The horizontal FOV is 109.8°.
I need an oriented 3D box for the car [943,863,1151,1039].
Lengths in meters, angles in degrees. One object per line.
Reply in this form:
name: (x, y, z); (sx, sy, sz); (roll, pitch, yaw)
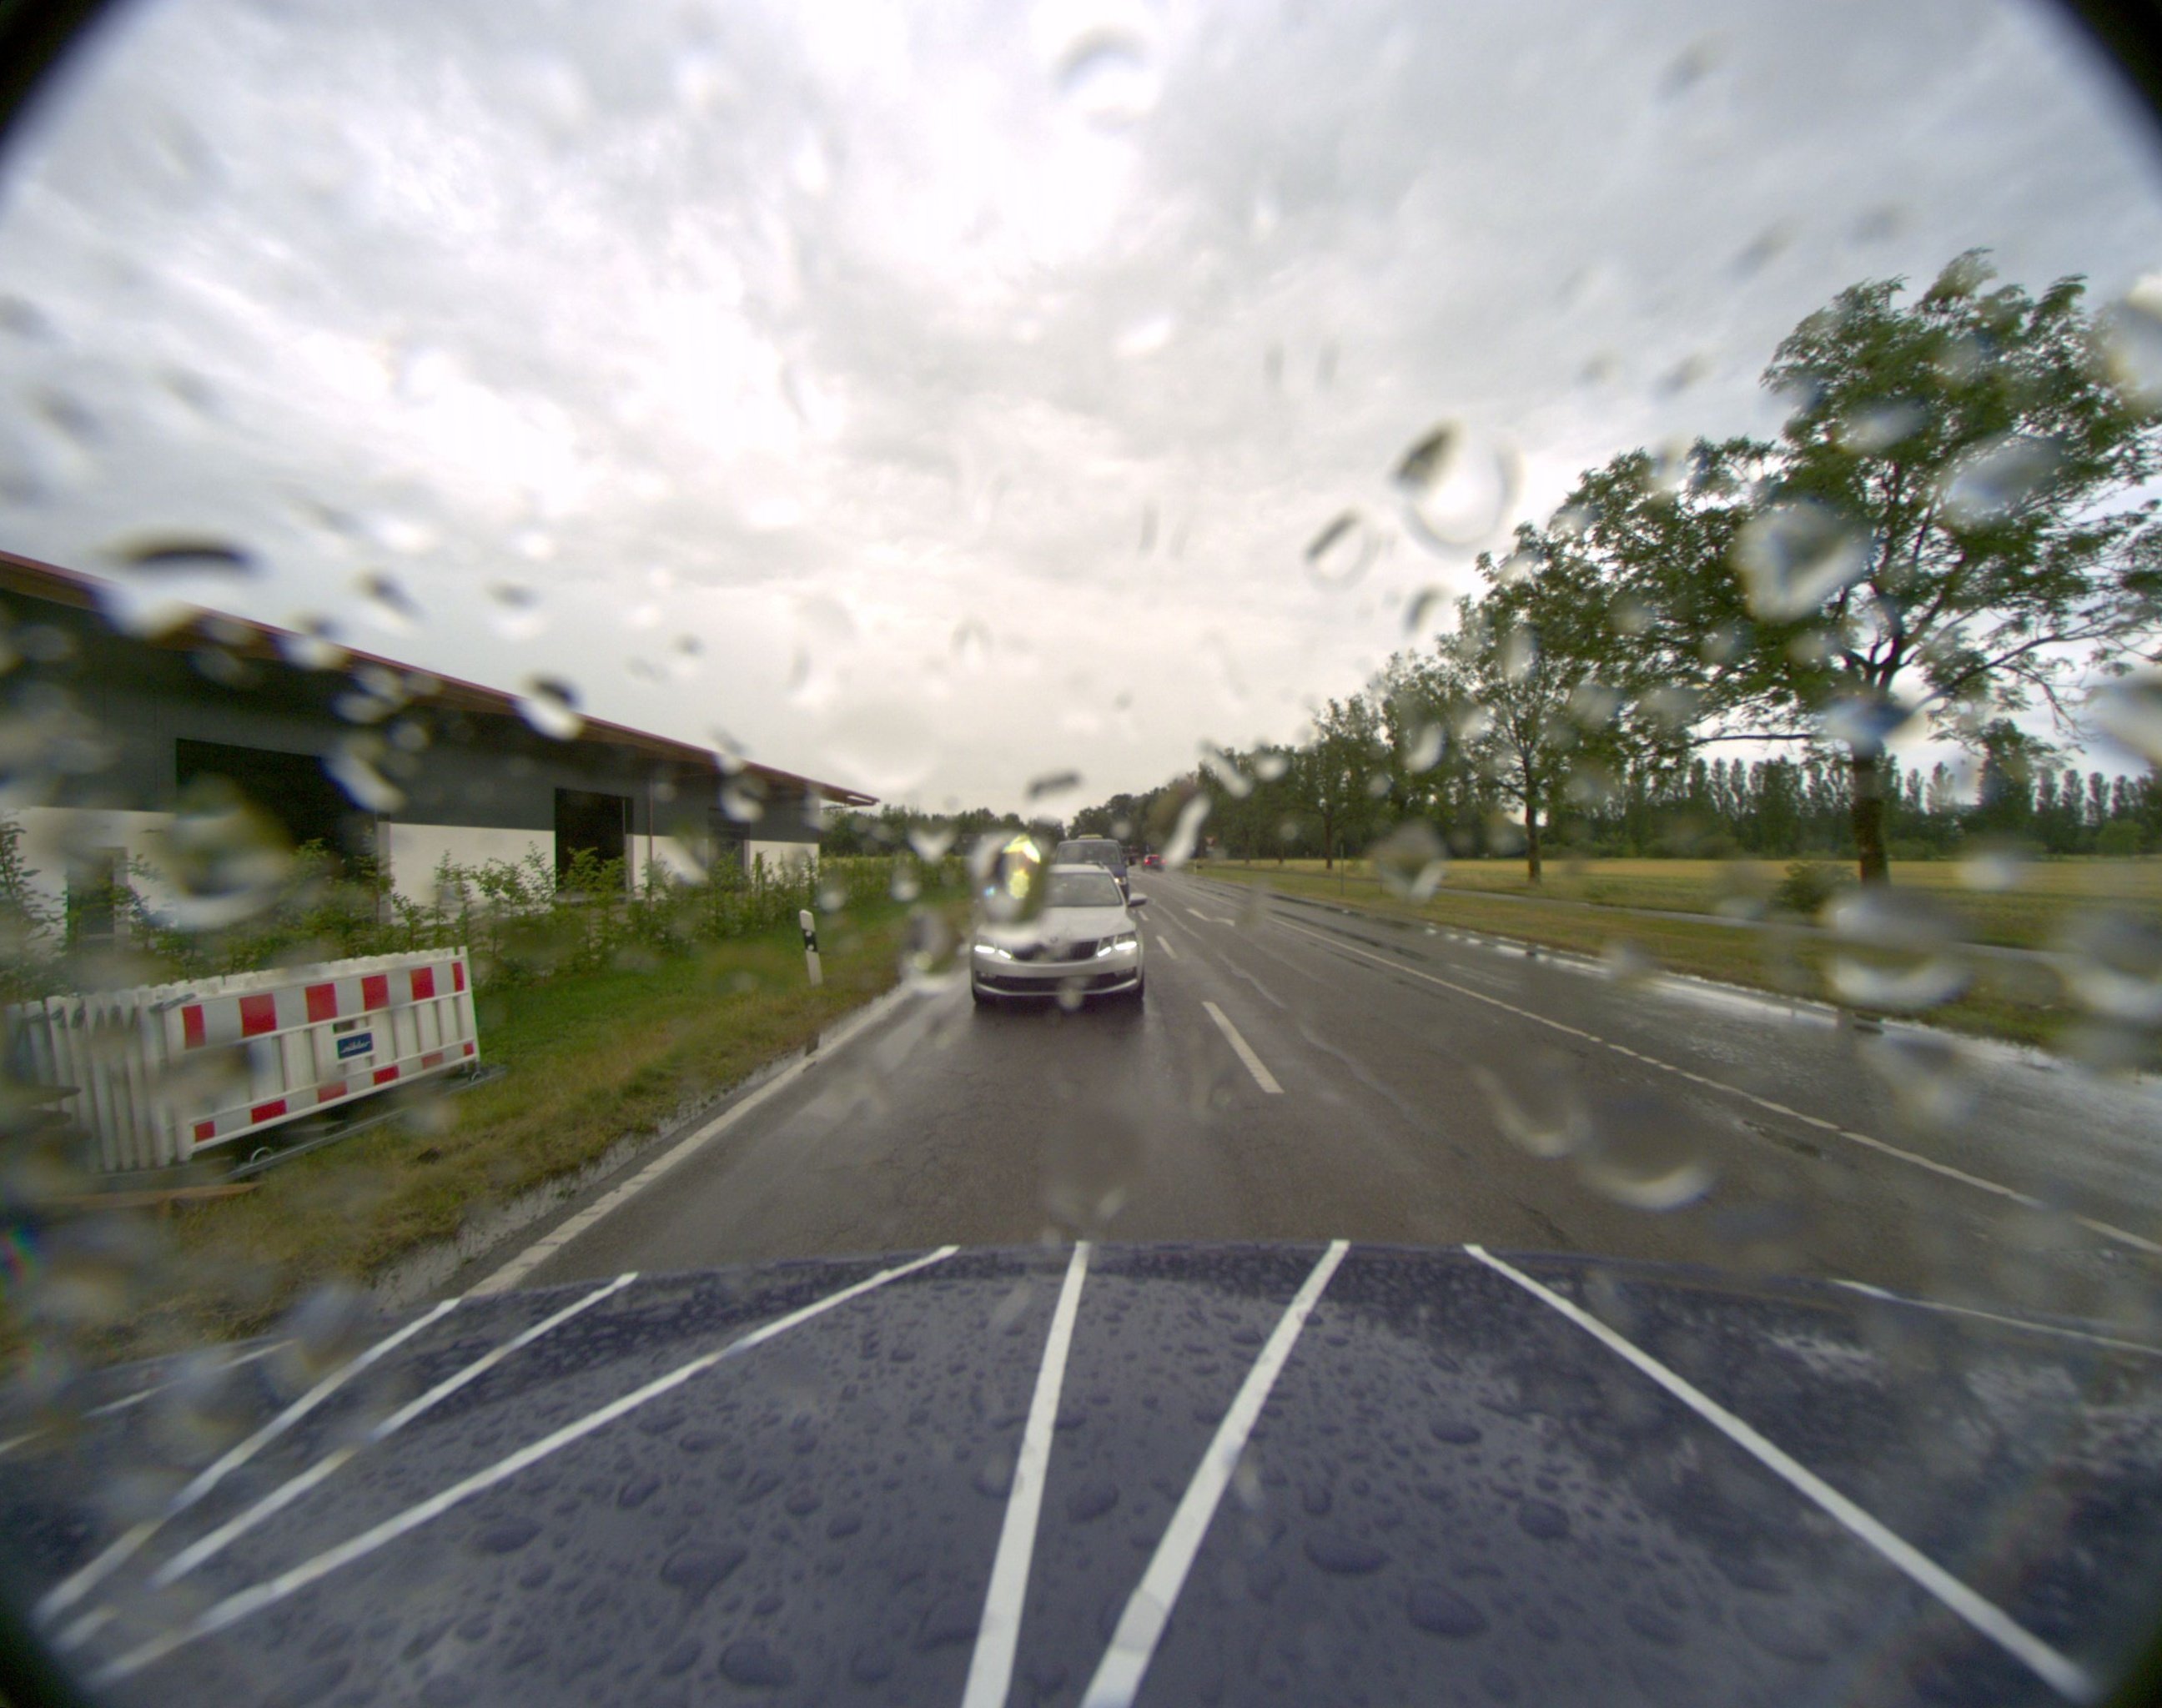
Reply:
car: (-0.276, 0.915, 9.193); (1.843, 1.379, 4.568); (-2, 1, 1)

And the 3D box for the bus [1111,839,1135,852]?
bus: (9.902, -2.015, 176.574); (2.954, 2.895, 12.488); (1, 1, 15)

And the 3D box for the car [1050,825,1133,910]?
car: (0.272, 0.274, 19.524); (1.892, 1.939, 3.999); (0, 1, 1)

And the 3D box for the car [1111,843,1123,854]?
car: (6.409, -0.994, 134.276); (1.921, 1.851, 4.684); (1, 1, 0)

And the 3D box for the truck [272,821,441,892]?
truck: (-32.681, 0.061, 34.586); (2.496, 2.996, 5.343); (0, 1, 1)

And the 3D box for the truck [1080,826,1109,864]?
truck: (1.476, -1.050, 84.244); (2.931, 3.829, 14.118); (0, 1, 1)

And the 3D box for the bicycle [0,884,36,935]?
bicycle: (-23.212, 1.198, 15.880); (0.391, 1.066, 1.660); (0, 1, 1)

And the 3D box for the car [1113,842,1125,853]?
car: (6.090, -1.079, 121.547); (1.708, 1.662, 4.155); (1, 1, 2)

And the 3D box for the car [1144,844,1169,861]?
car: (6.415, -0.163, 65.220); (1.724, 1.396, 4.043); (1, 1, 0)
